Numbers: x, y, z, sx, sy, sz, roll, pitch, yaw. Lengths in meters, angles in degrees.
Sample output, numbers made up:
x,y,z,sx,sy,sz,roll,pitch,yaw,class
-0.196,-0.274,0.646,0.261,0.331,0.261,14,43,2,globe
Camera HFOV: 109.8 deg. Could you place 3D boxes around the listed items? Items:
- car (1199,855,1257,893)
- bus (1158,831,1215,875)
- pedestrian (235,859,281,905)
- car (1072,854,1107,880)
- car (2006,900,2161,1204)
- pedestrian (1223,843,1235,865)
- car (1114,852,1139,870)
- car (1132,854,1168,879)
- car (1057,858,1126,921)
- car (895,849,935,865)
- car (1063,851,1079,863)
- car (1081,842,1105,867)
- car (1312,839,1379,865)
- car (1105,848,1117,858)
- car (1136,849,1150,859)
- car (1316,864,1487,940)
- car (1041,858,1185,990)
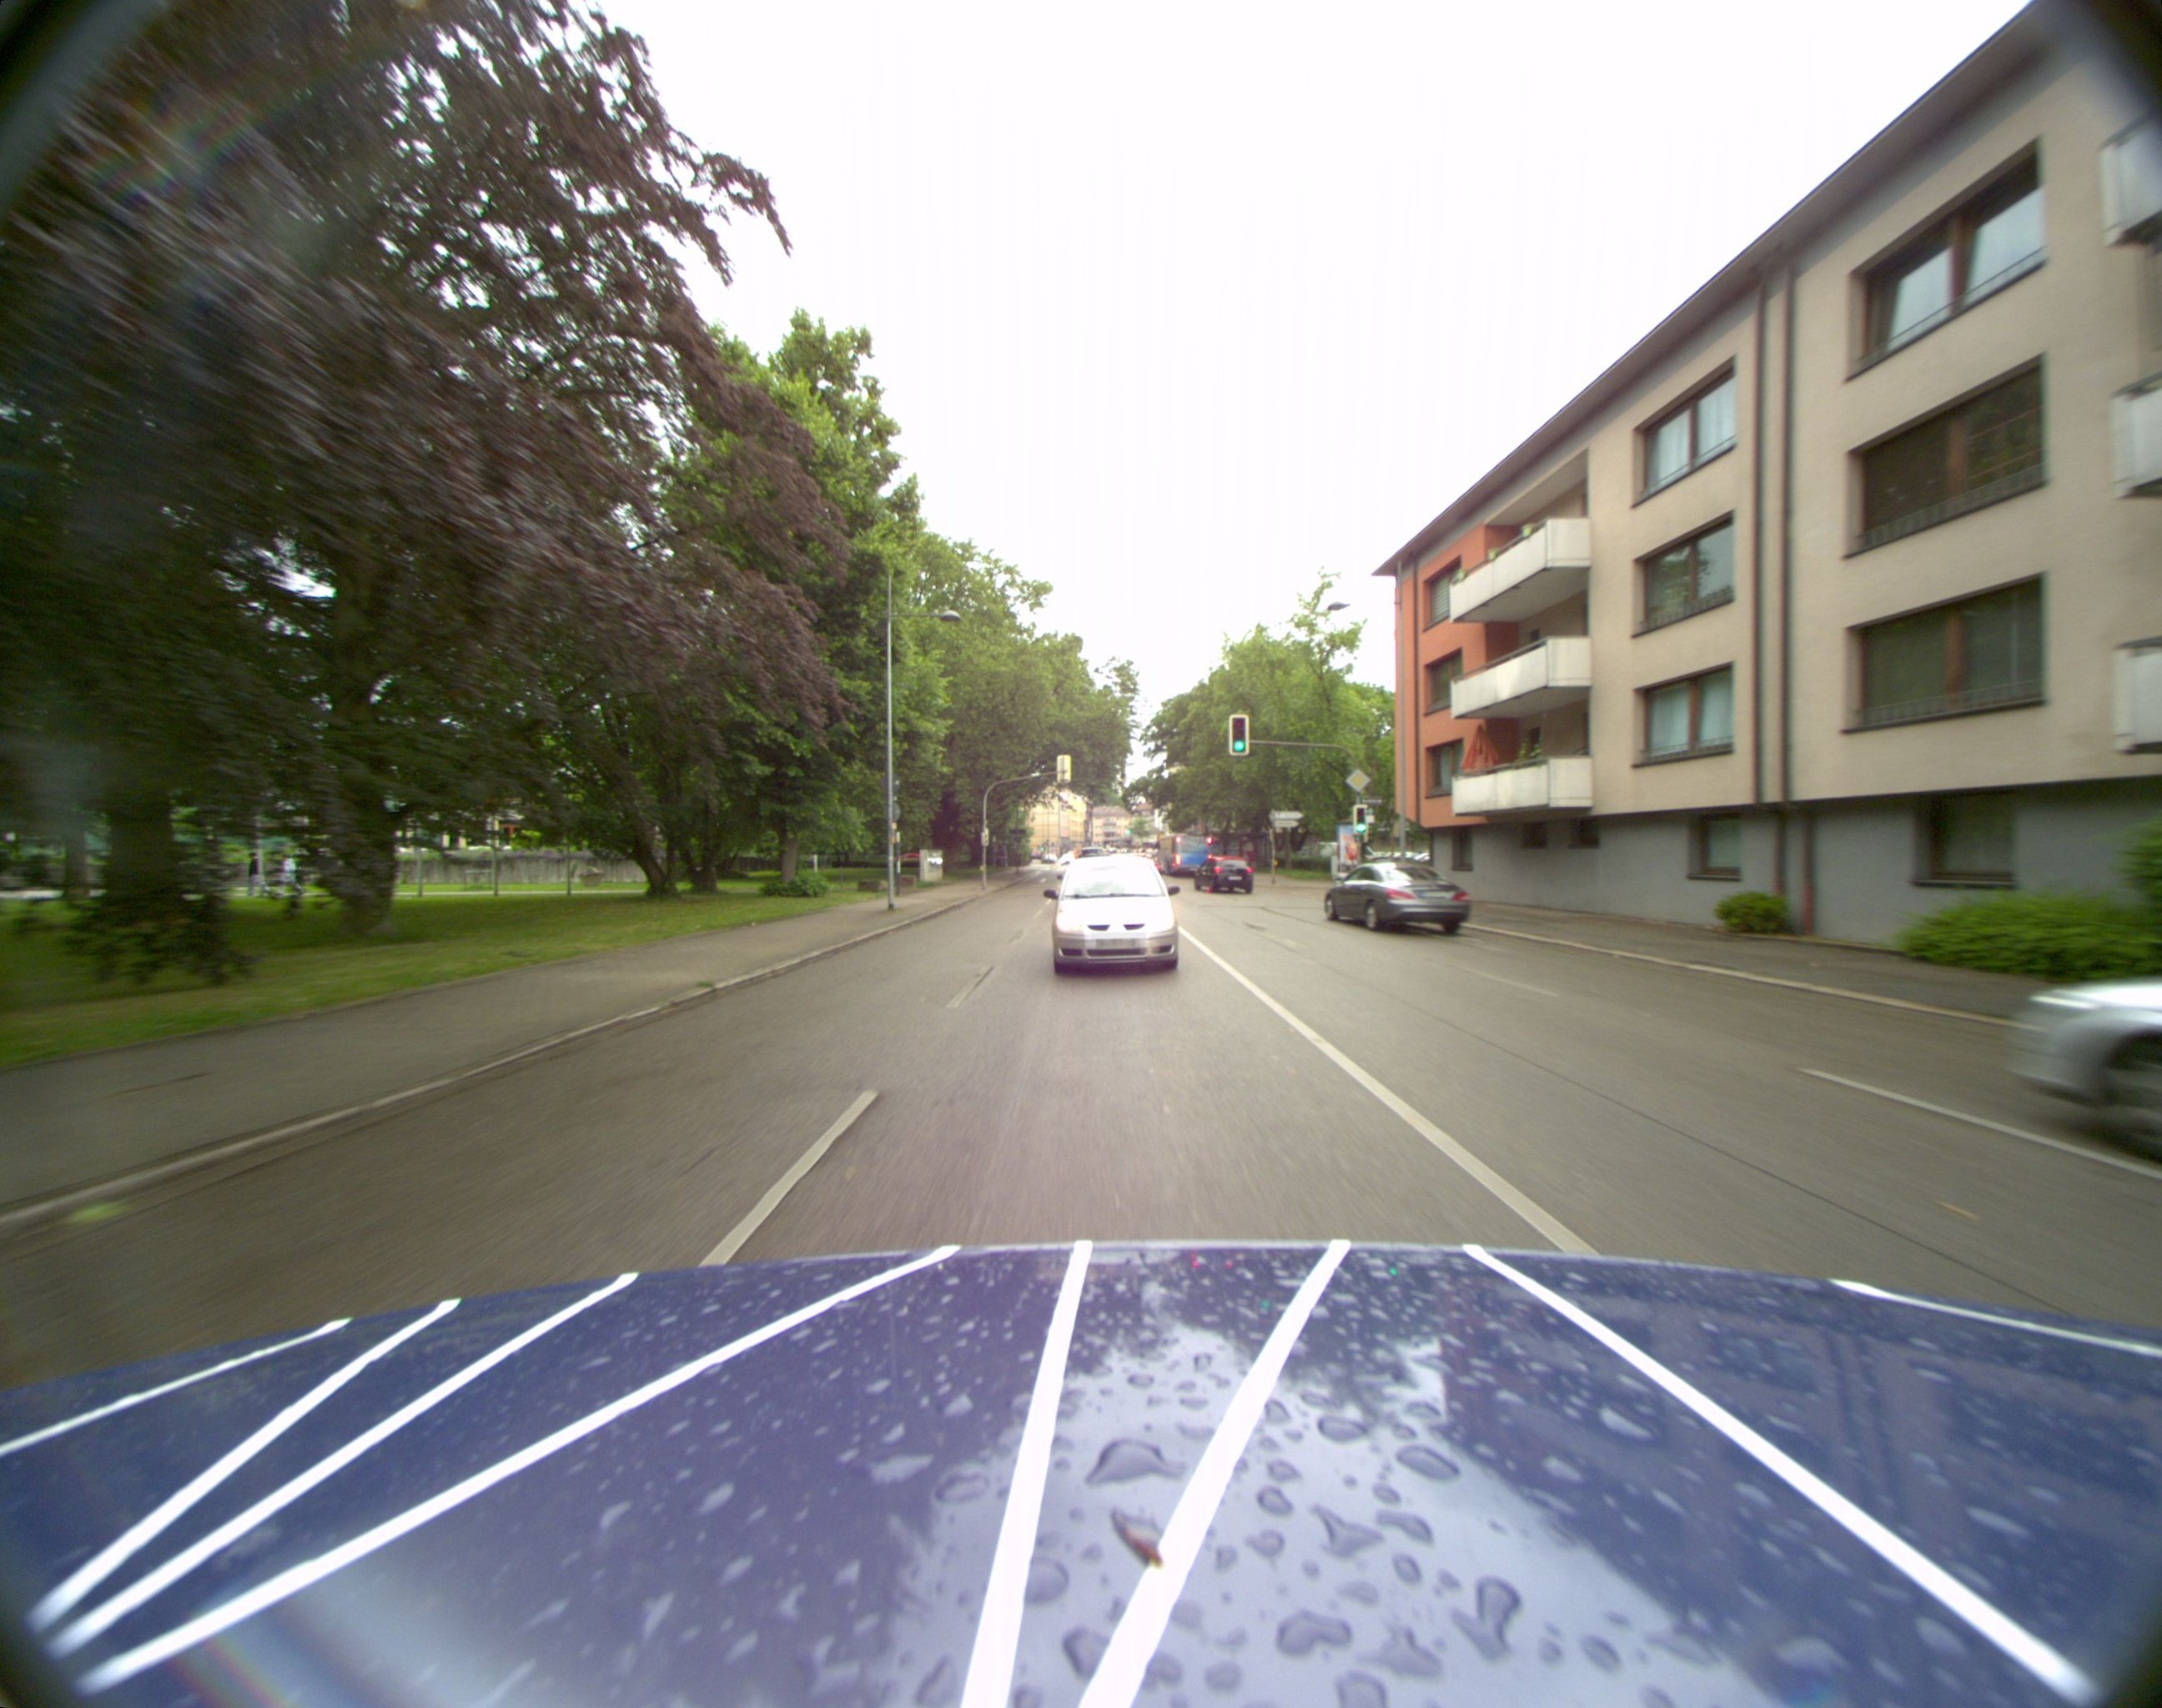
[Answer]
x,y,z,sx,sy,sz,roll,pitch,yaw,class
6.094,0.793,31.907,1.691,1.483,3.890,1,0,0,car
7.610,-0.180,56.415,2.700,2.923,12.083,0,1,1,bus
-32.506,1.091,30.025,0.840,1.753,0.771,-3,1,-5,pedestrian
0.562,0.753,45.071,1.800,1.449,4.492,0,0,4,car
6.152,0.952,2.223,1.818,1.407,4.046,0,0,-5,car
11.965,0.010,61.384,0.711,1.759,0.687,-3,1,1,pedestrian
3.925,0.546,65.407,1.799,1.449,4.493,1,0,7,car
4.136,0.737,46.141,1.798,1.407,4.335,0,0,0,car
0.281,0.917,21.366,1.718,1.509,4.088,-1,0,0,car
-18.420,0.301,84.438,3.998,1.706,1.999,0,0,-2,car
-1.232,0.379,99.411,1.906,1.538,4.000,-1,1,2,car
1.103,0.015,69.098,2.037,2.119,4.000,-1,1,2,car
19.475,-0.146,56.020,4.334,1.911,1.702,0,1,-2,car
4.925,-0.178,124.949,1.802,1.508,4.580,1,0,0,car
9.798,0.039,120.107,1.802,1.508,4.807,1,0,0,car
6.824,0.944,16.802,1.817,1.407,4.682,0,0,0,car
0.412,0.887,11.820,1.718,1.509,4.806,-3,0,0,car
